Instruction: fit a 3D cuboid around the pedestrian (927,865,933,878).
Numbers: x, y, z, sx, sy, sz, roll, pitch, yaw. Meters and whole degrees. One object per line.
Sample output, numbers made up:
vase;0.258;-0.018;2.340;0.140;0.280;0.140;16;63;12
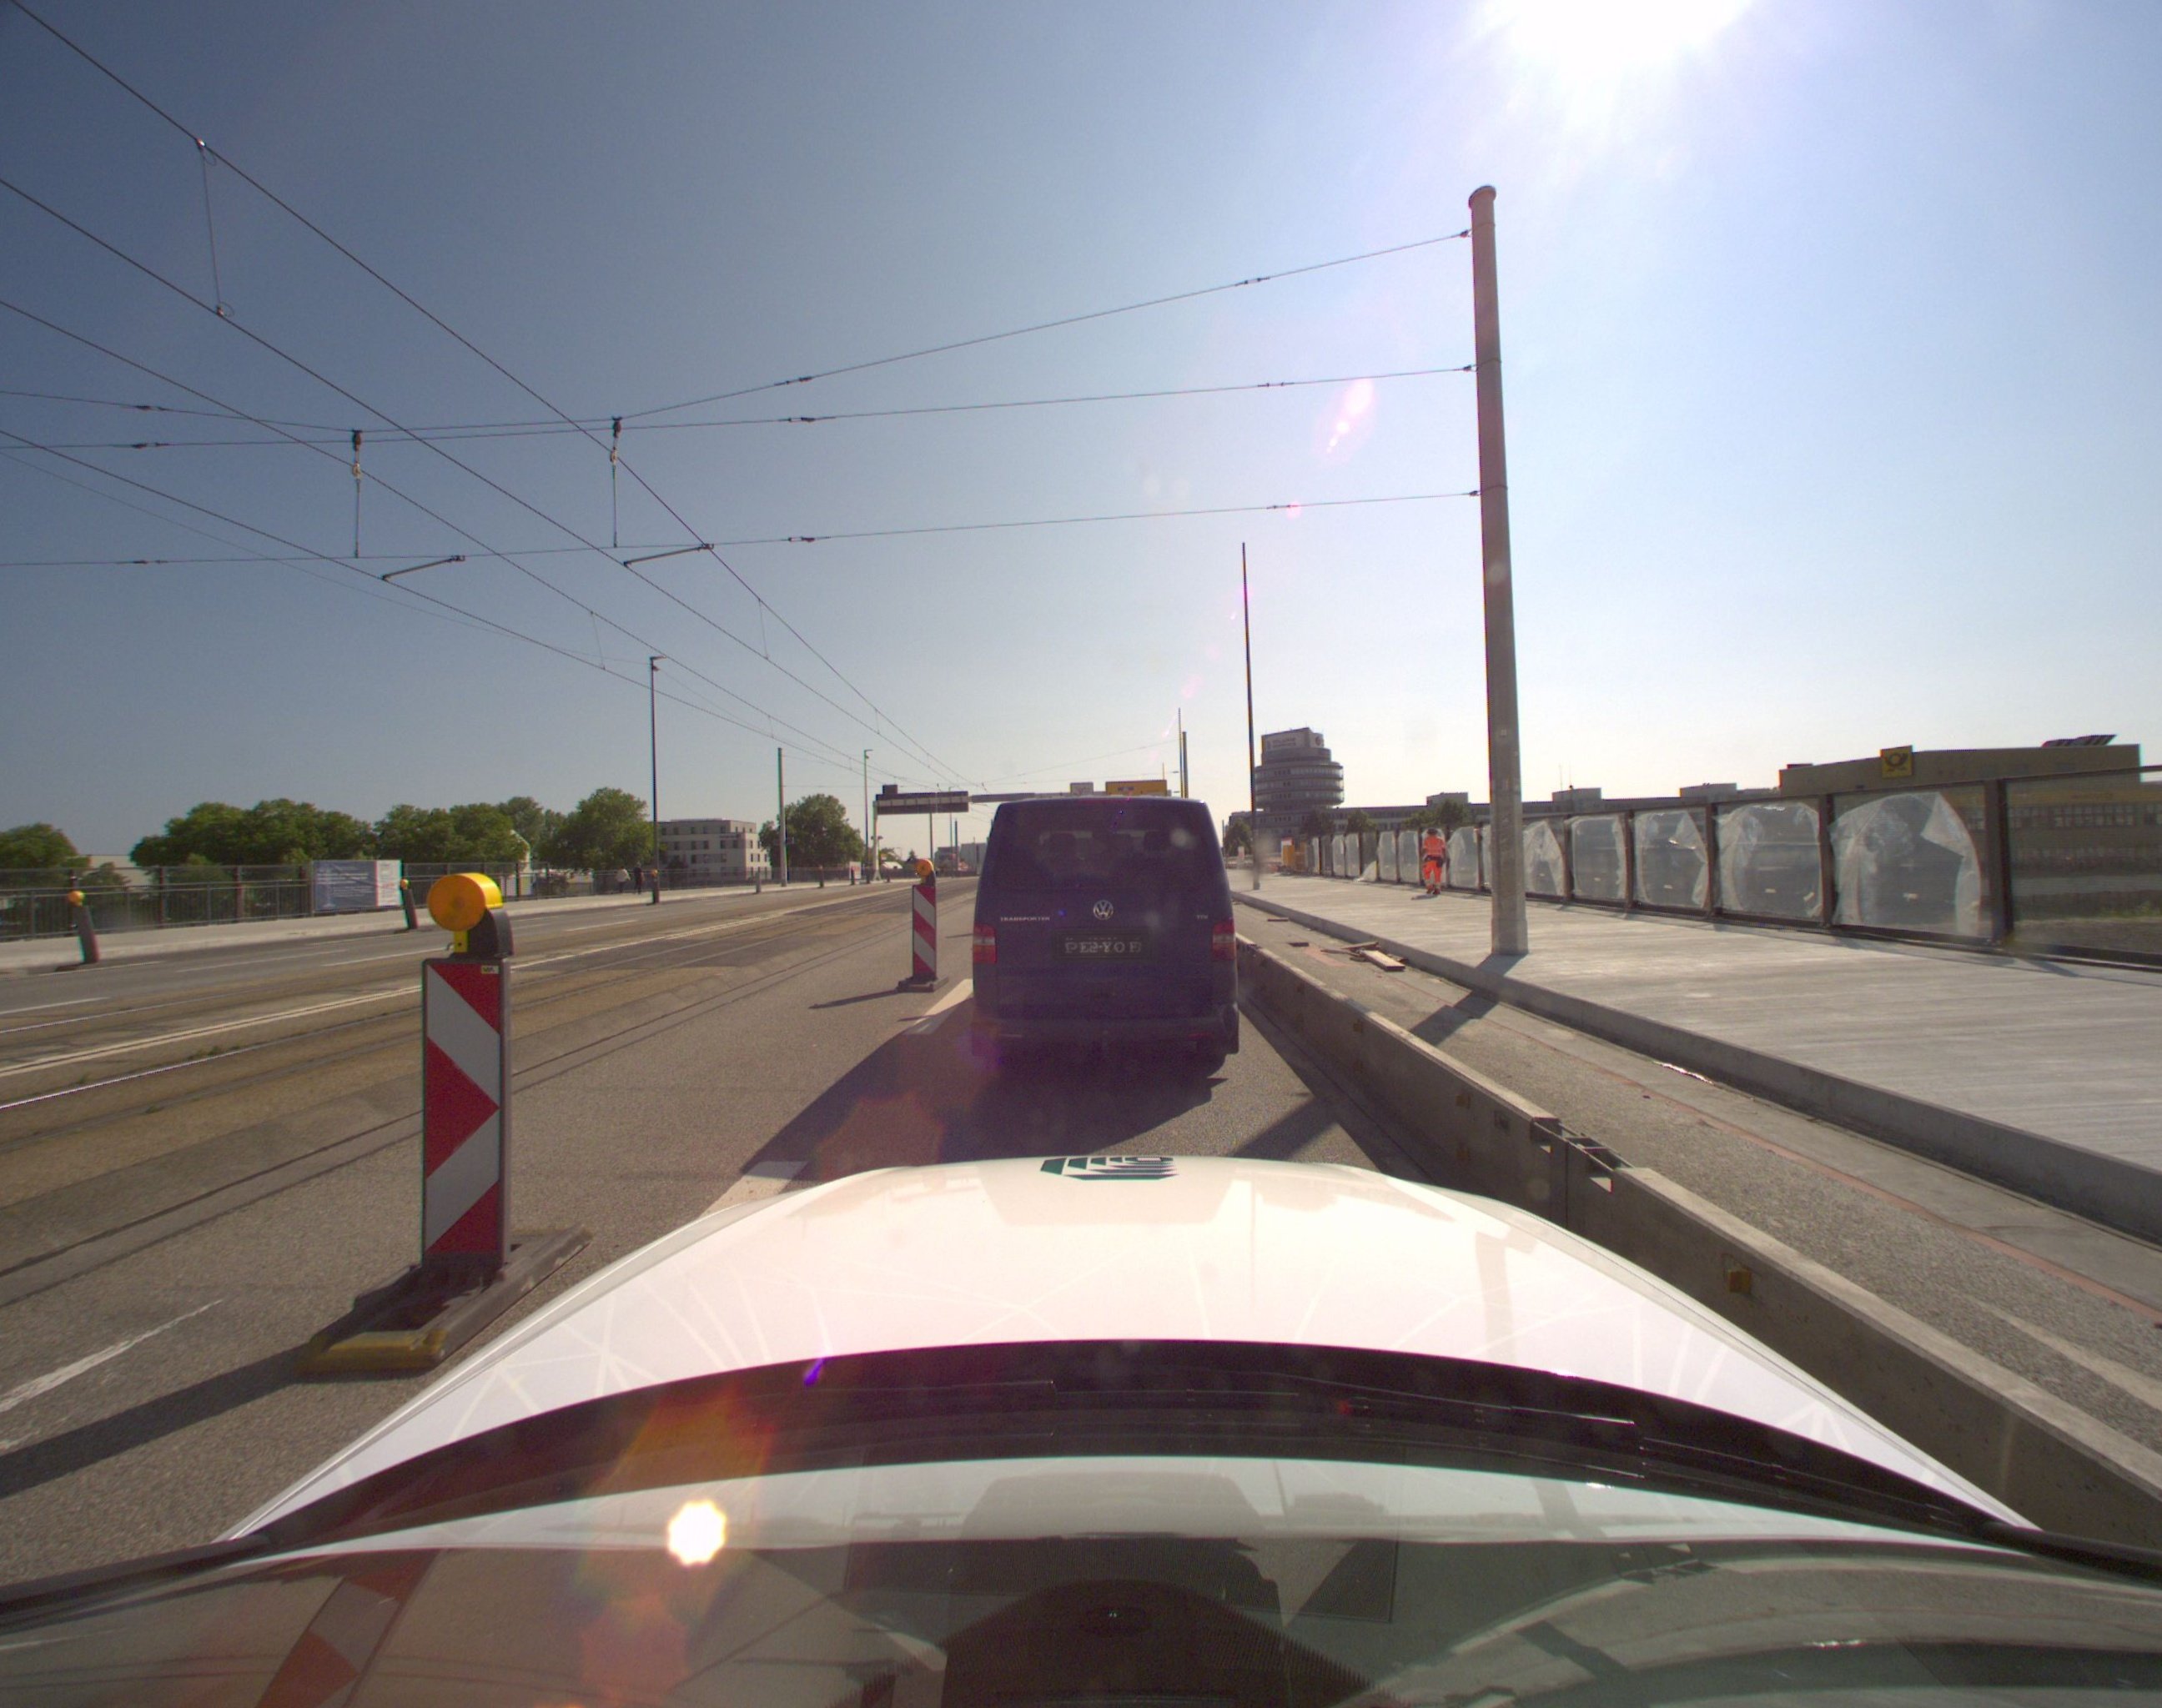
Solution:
pedestrian;-20.913;2.434;112.879;0.632;1.752;0.752;-1;0;1

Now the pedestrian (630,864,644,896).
pedestrian;-24.221;1.416;44.478;0.493;1.694;0.474;-1;-1;1

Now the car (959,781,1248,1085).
car;0.216;0.511;7.257;1.809;1.905;4.056;-1;0;2

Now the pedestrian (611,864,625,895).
pedestrian;-25.307;1.381;44.548;0.493;1.694;0.474;-1;-1;1

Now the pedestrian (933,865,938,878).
pedestrian;-20.193;2.398;113.028;0.631;1.774;0.752;-1;0;1

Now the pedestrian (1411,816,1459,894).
pedestrian;9.127;0.031;21.030;0.779;1.935;0.800;-3;-1;1

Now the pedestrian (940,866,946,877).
pedestrian;-19.712;2.489;116.355;0.631;1.598;0.752;-1;0;1

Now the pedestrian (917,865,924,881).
pedestrian;-18.896;2.231;96.124;0.631;1.917;0.752;-1;0;1

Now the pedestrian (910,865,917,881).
pedestrian;-19.766;2.243;96.187;0.631;1.893;0.752;-1;0;1
